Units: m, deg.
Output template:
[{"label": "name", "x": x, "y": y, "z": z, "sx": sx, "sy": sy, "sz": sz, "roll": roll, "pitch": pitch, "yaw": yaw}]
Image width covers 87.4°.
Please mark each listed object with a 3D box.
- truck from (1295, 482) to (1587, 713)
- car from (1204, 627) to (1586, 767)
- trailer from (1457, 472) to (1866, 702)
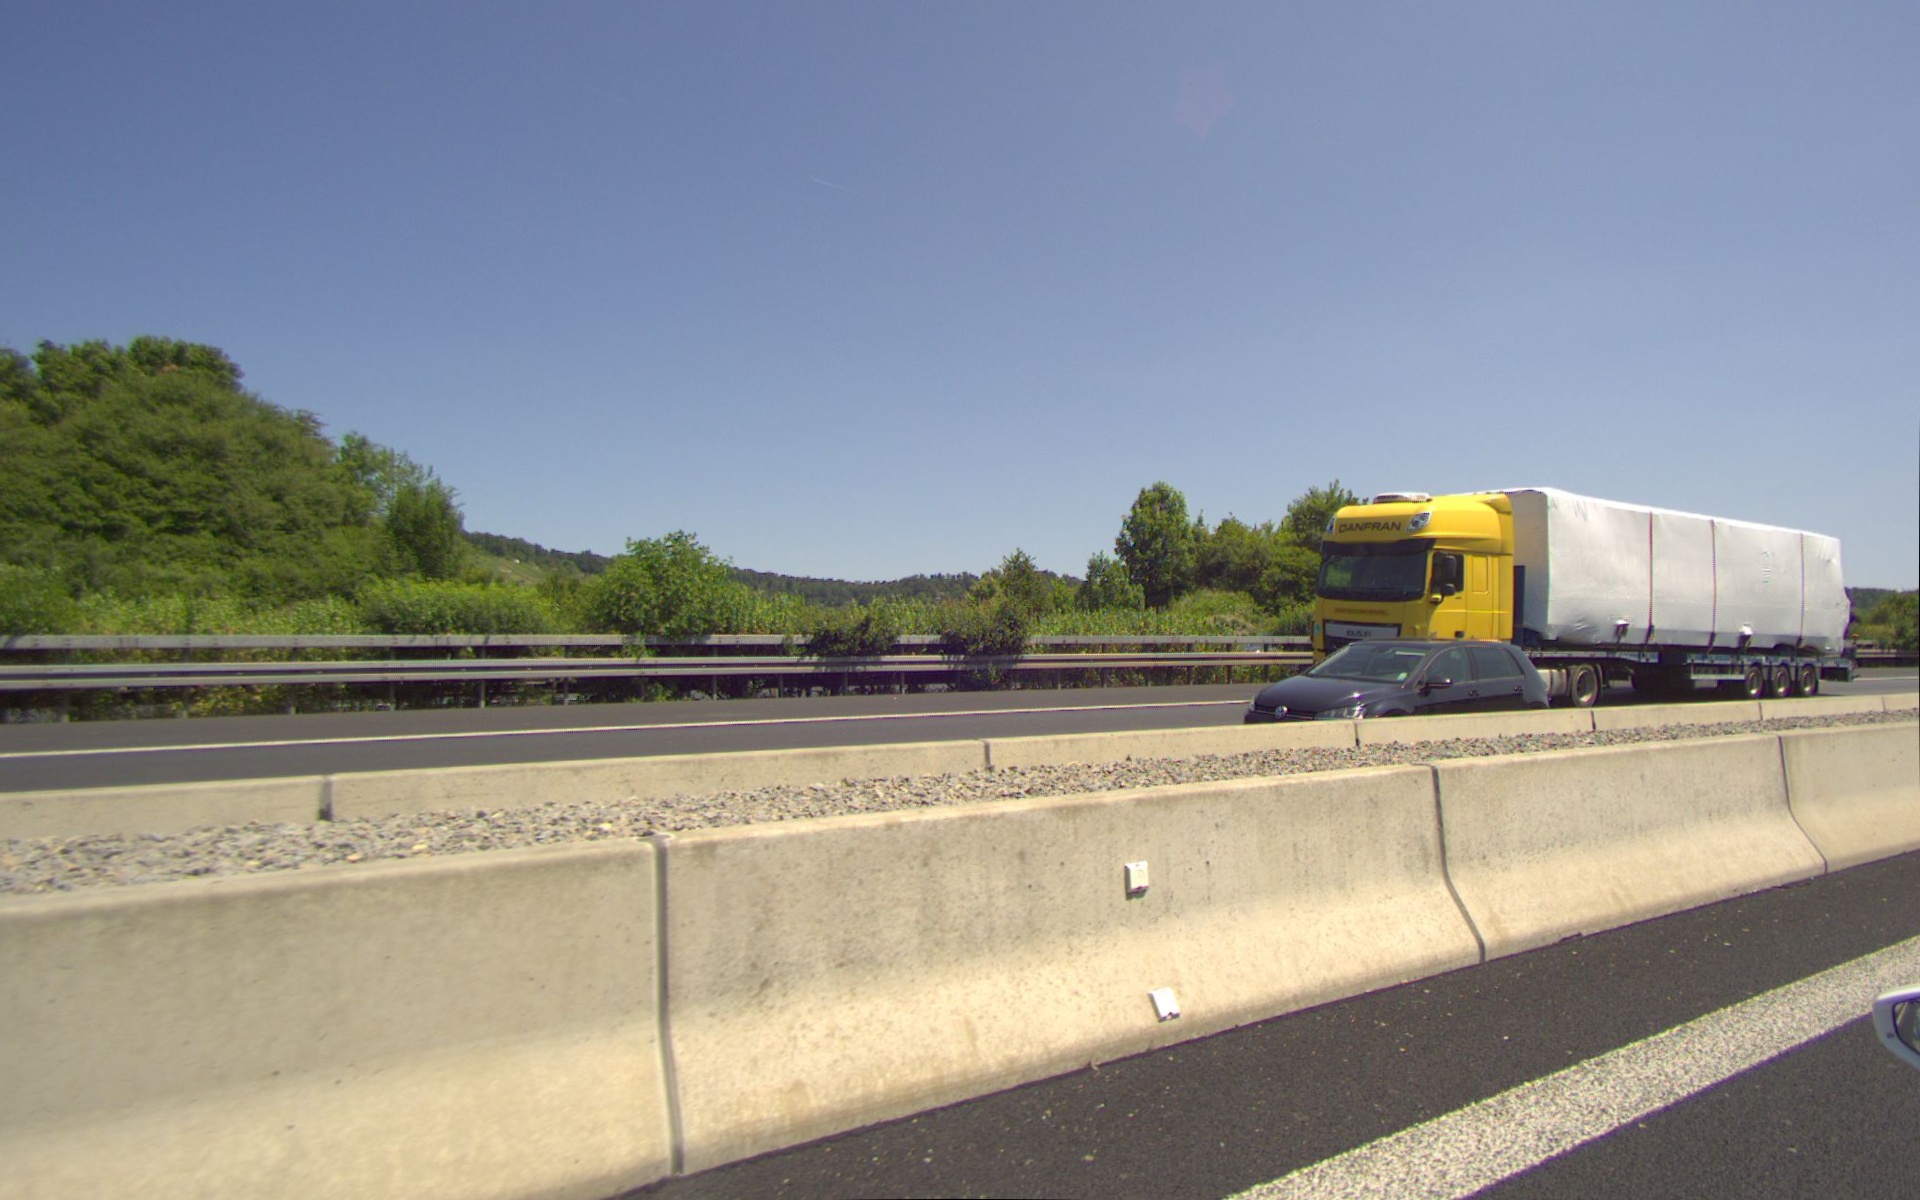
[{"label": "truck", "x": 9.096, "y": 0.035, "z": 18.978, "sx": 4.809, "sy": 3.804, "sz": 2.736, "roll": 2, "pitch": -1, "yaw": -30}, {"label": "car", "x": 5.202, "y": 1.060, "z": 11.977, "sx": 4.204, "sy": 1.367, "sz": 1.986, "roll": 2, "pitch": -1, "yaw": -27}, {"label": "trailer", "x": 16.775, "y": -0.063, "z": 23.426, "sx": 12.672, "sy": 4.369, "sz": 2.705, "roll": 2, "pitch": -1, "yaw": -30}]
